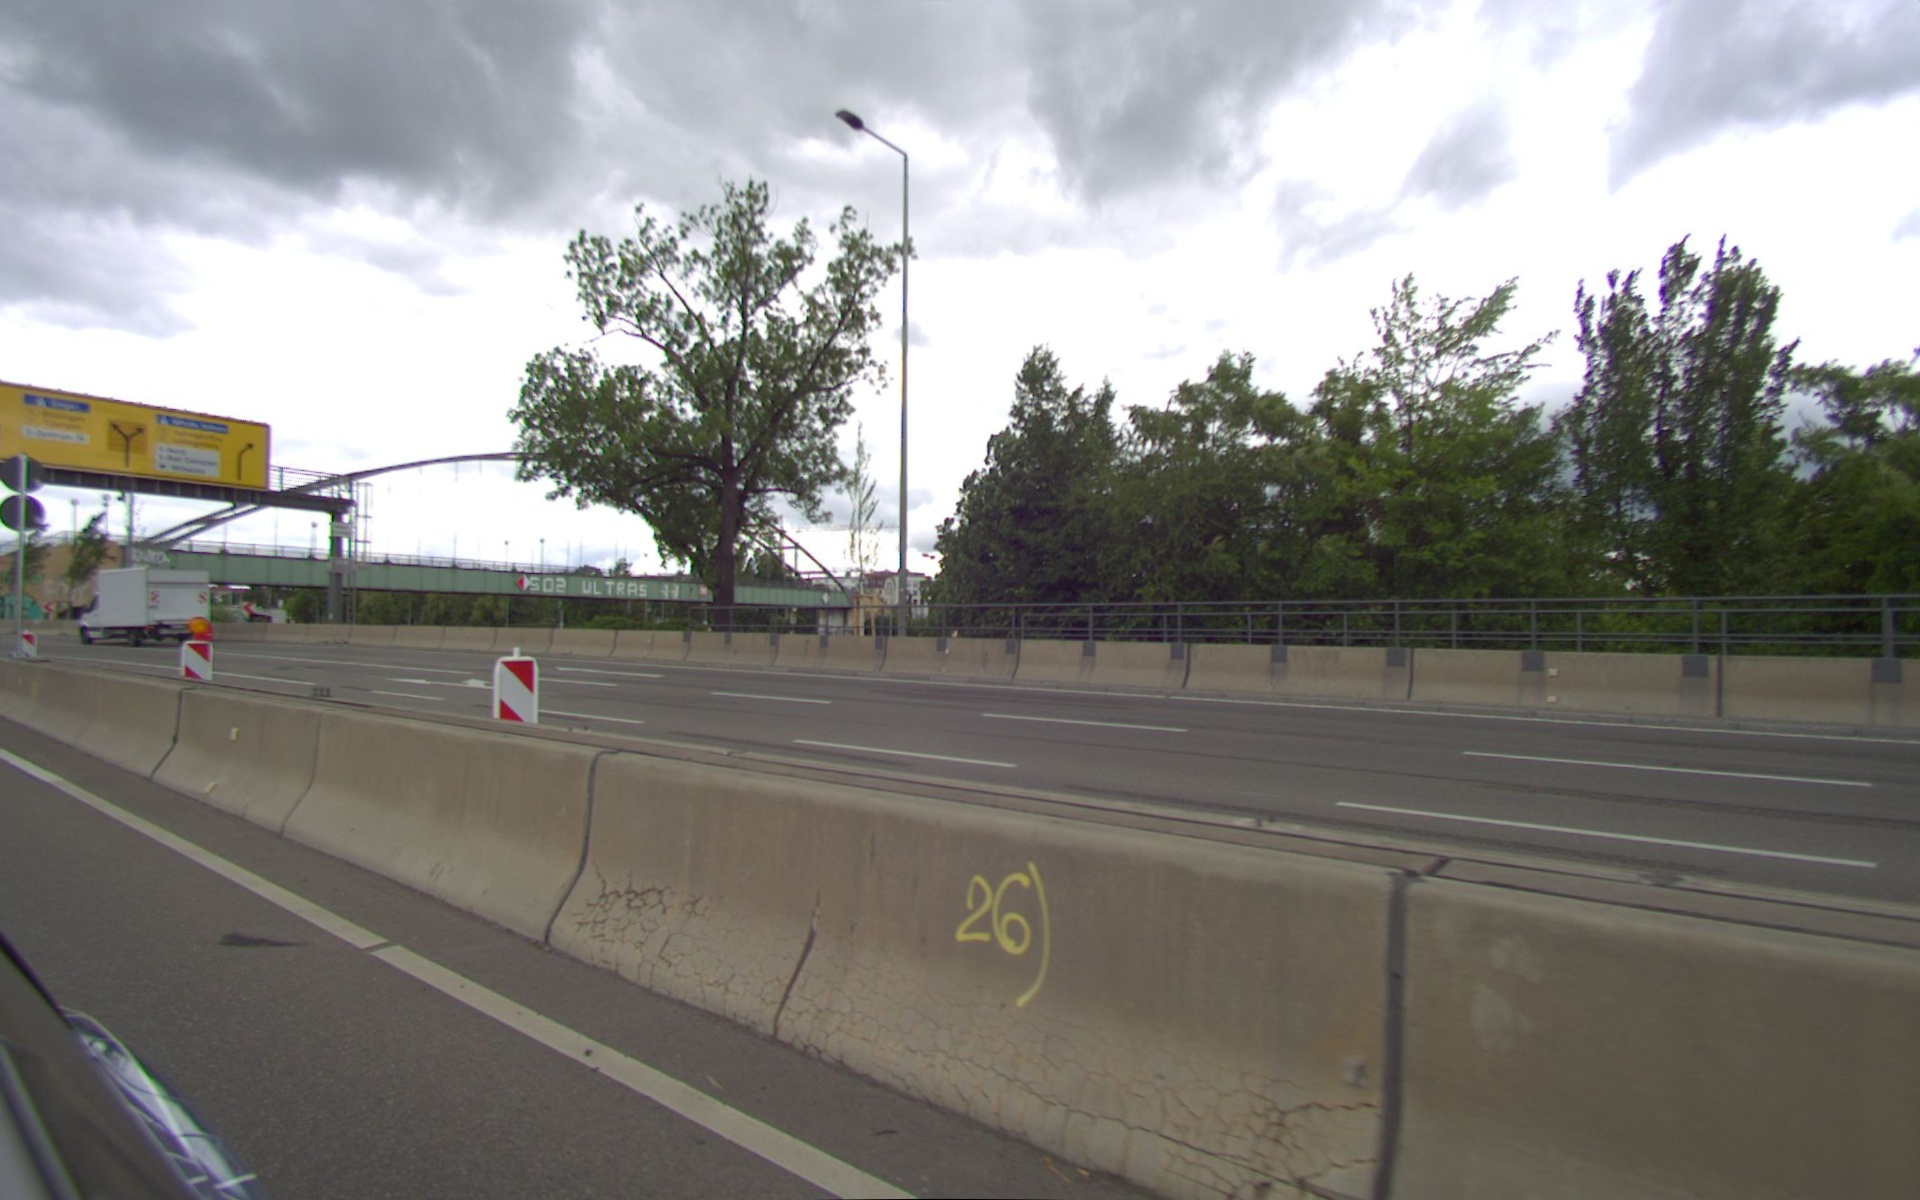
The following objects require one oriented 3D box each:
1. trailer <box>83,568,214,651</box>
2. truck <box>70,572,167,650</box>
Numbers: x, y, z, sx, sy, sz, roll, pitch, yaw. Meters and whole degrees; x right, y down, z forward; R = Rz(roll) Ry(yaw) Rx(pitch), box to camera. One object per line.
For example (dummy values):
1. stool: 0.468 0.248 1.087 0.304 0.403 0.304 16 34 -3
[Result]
1. trailer: -33.072 0.378 41.186 5.688 3.161 2.257 -1 0 30
2. truck: -35.315 0.452 42.485 2.976 3.137 2.256 -1 0 31
